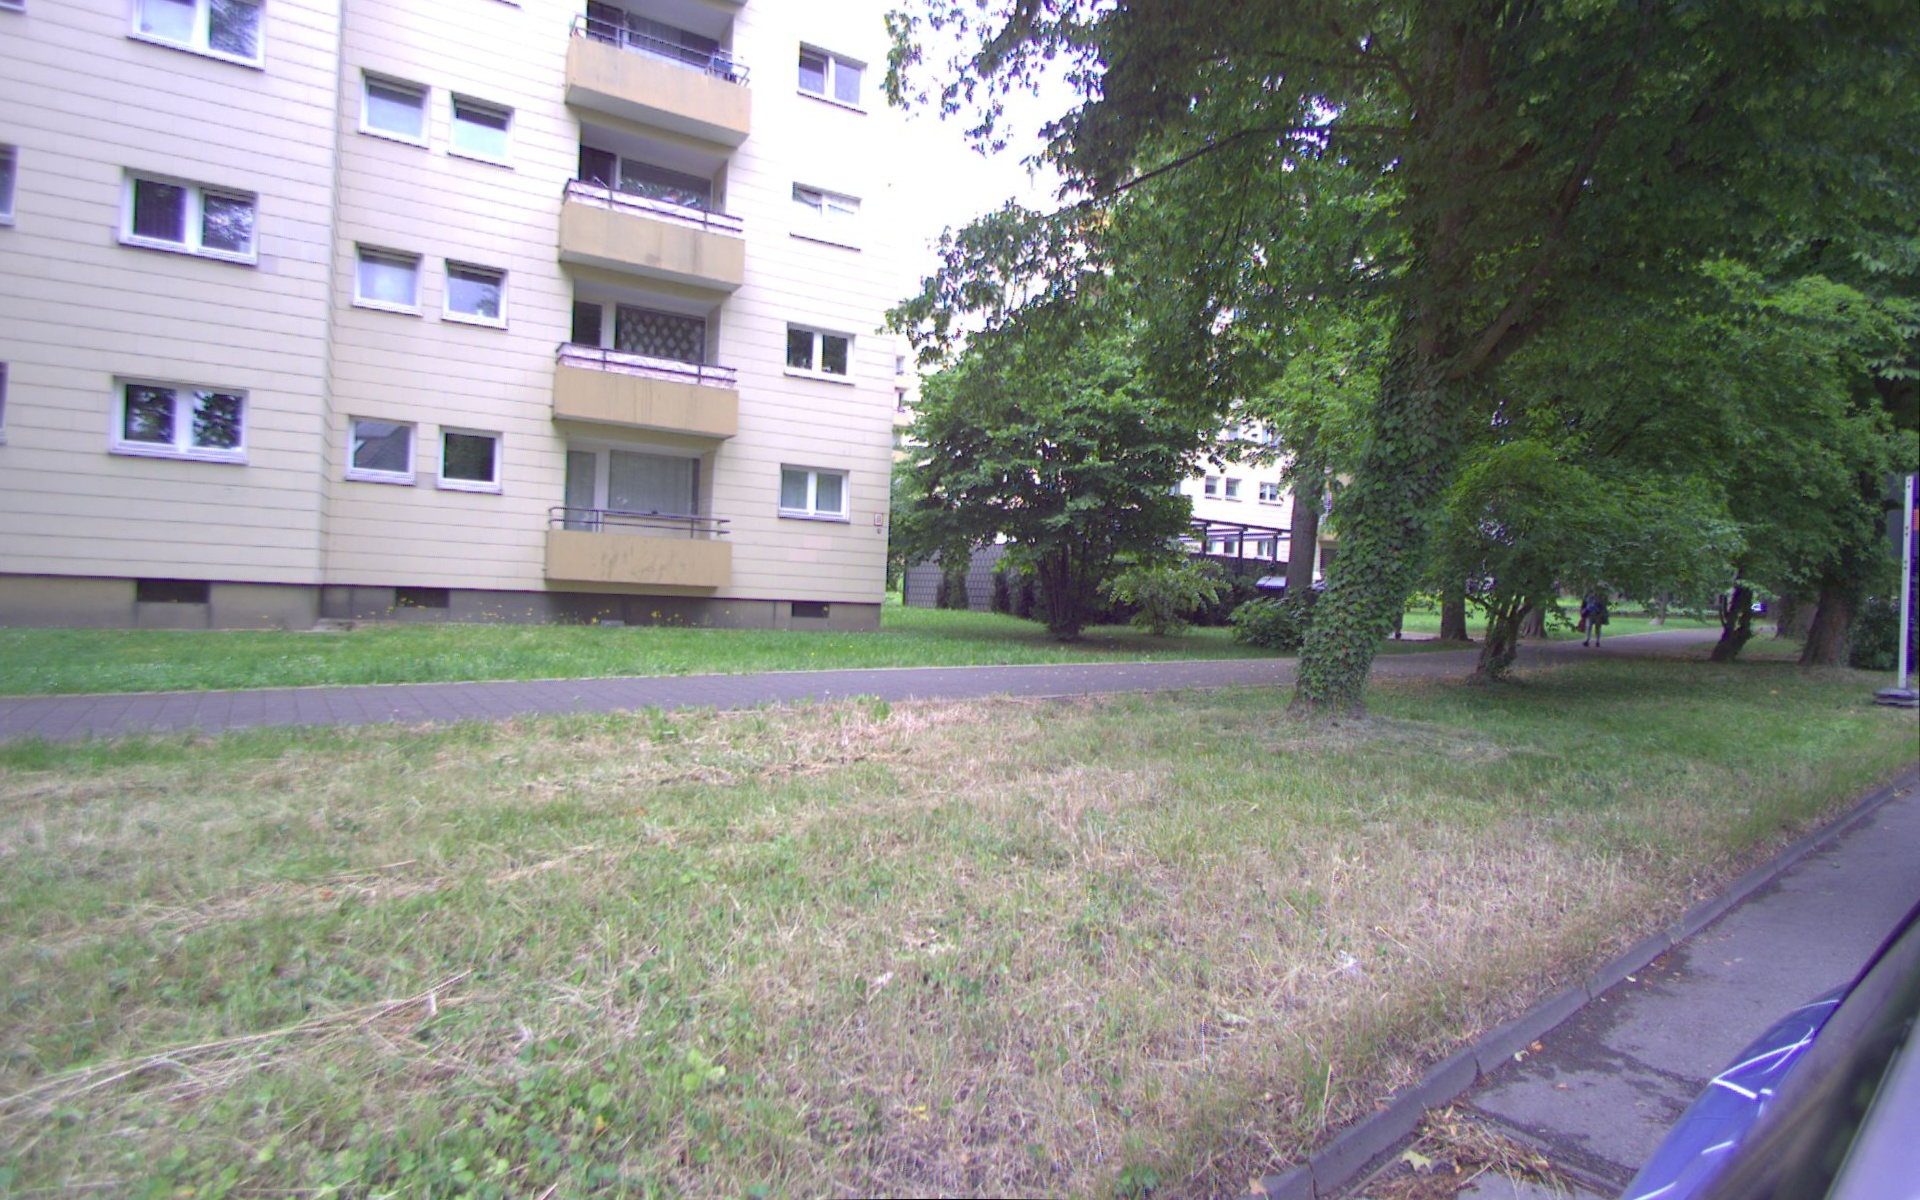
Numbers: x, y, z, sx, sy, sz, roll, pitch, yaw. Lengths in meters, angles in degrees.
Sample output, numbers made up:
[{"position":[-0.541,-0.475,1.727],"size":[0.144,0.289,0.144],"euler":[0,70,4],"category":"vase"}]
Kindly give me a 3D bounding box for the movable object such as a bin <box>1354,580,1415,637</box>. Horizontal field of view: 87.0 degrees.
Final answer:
[{"position":[11.351,0.207,27.065],"size":[1.190,1.431,1.094],"euler":[3,2,41],"category":"movable object such as a bin"}]

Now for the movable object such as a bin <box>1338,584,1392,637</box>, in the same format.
[{"position":[10.550,0.267,26.347],"size":[1.022,1.320,0.946],"euler":[3,2,41],"category":"movable object such as a bin"}]

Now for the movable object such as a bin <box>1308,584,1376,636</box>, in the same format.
[{"position":[9.662,0.245,25.573],"size":[1.190,1.236,1.328],"euler":[3,2,41],"category":"movable object such as a bin"}]

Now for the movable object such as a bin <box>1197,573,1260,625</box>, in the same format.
[{"position":[7.410,-0.029,27.917],"size":[1.190,1.358,1.328],"euler":[3,2,41],"category":"movable object such as a bin"}]

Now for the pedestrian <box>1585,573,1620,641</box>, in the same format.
[{"position":[16.835,0.178,26.524],"size":[0.560,1.761,0.565],"euler":[1,2,-41],"category":"pedestrian"}]

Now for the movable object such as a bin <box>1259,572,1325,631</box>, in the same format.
[{"position":[8.673,0.029,26.445],"size":[1.190,1.475,1.328],"euler":[3,2,41],"category":"movable object such as a bin"}]
